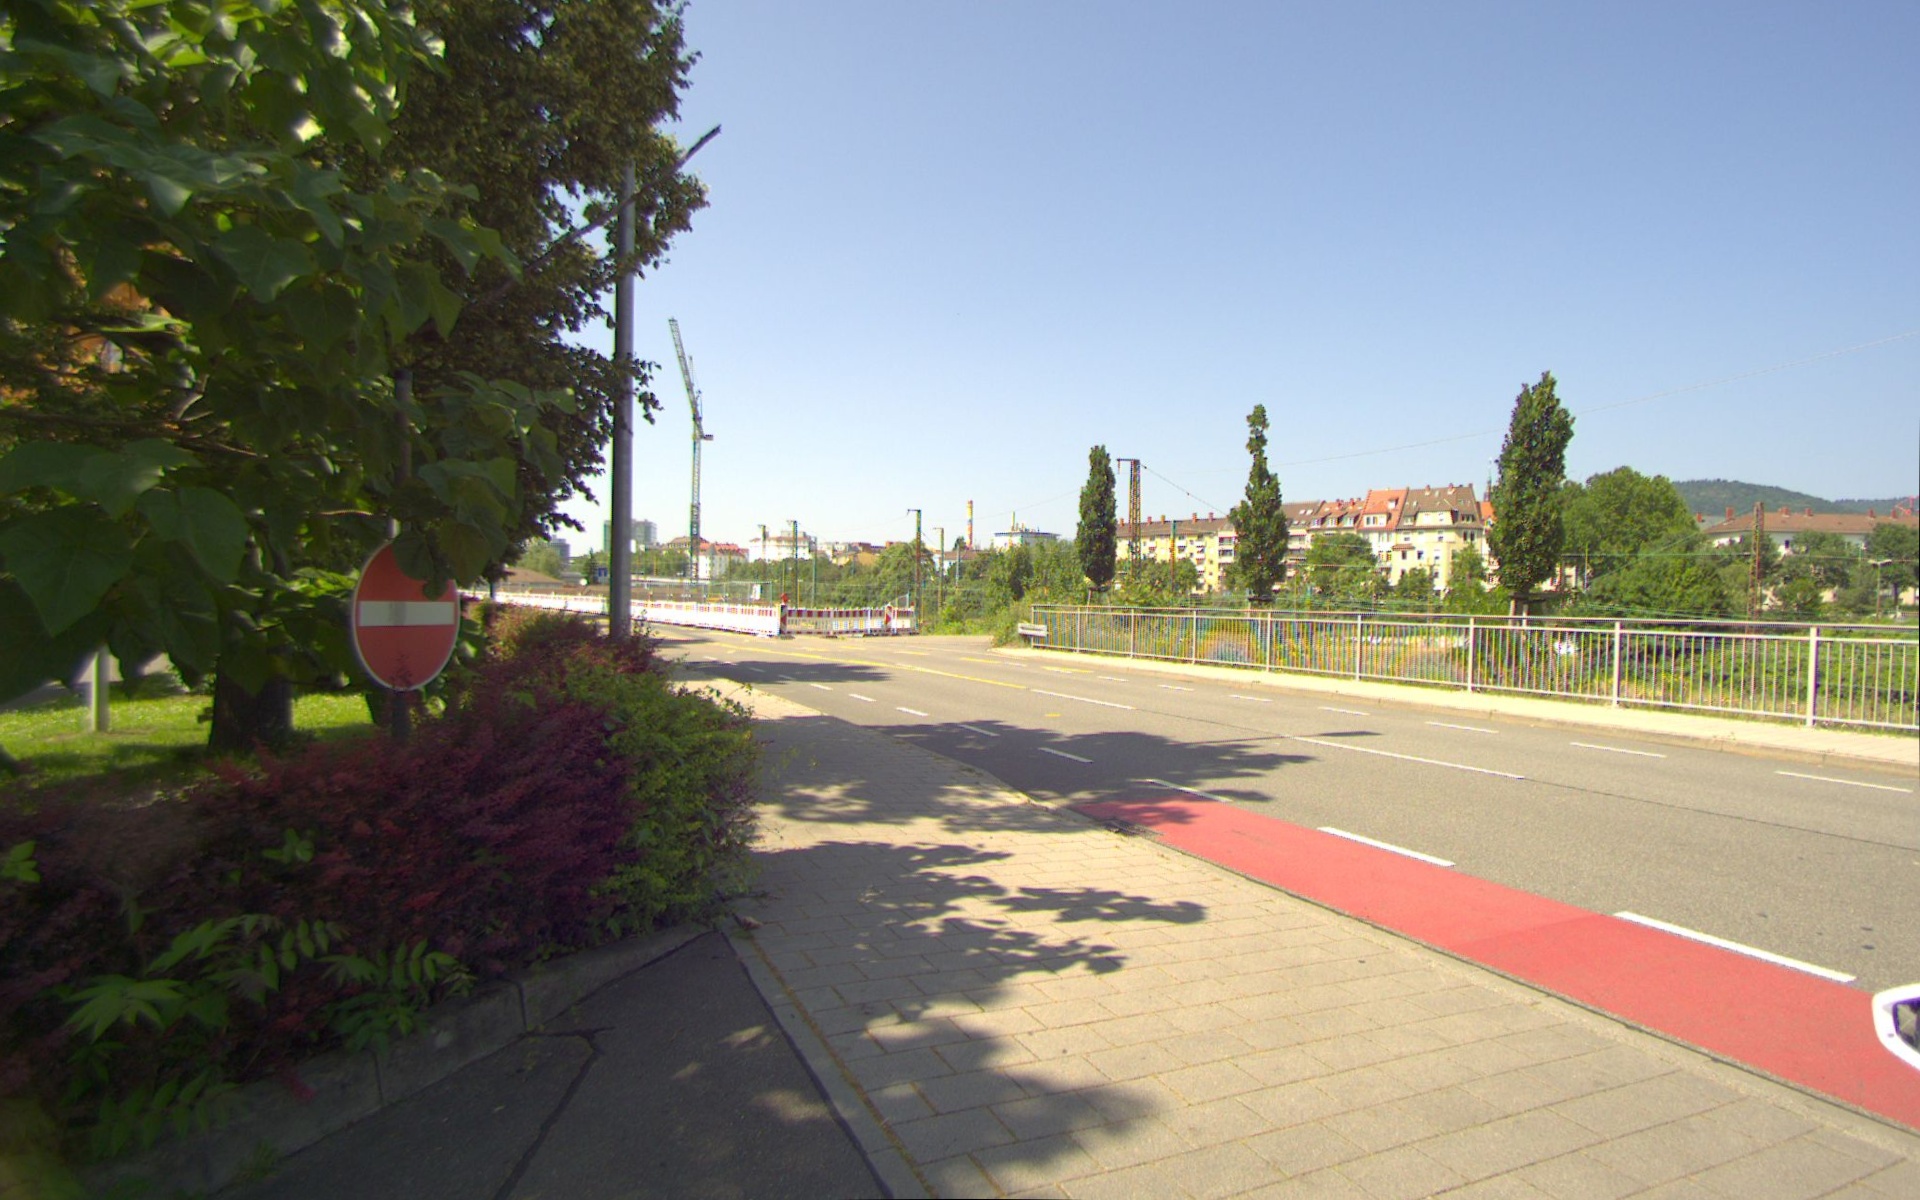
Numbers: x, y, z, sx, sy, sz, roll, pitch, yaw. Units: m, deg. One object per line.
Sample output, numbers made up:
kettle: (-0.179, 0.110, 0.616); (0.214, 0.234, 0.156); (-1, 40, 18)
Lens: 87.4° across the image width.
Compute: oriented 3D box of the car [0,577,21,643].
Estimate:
car: (-23.389, 0.239, 22.527); (2.048, 1.581, 4.996); (1, 0, -27)
